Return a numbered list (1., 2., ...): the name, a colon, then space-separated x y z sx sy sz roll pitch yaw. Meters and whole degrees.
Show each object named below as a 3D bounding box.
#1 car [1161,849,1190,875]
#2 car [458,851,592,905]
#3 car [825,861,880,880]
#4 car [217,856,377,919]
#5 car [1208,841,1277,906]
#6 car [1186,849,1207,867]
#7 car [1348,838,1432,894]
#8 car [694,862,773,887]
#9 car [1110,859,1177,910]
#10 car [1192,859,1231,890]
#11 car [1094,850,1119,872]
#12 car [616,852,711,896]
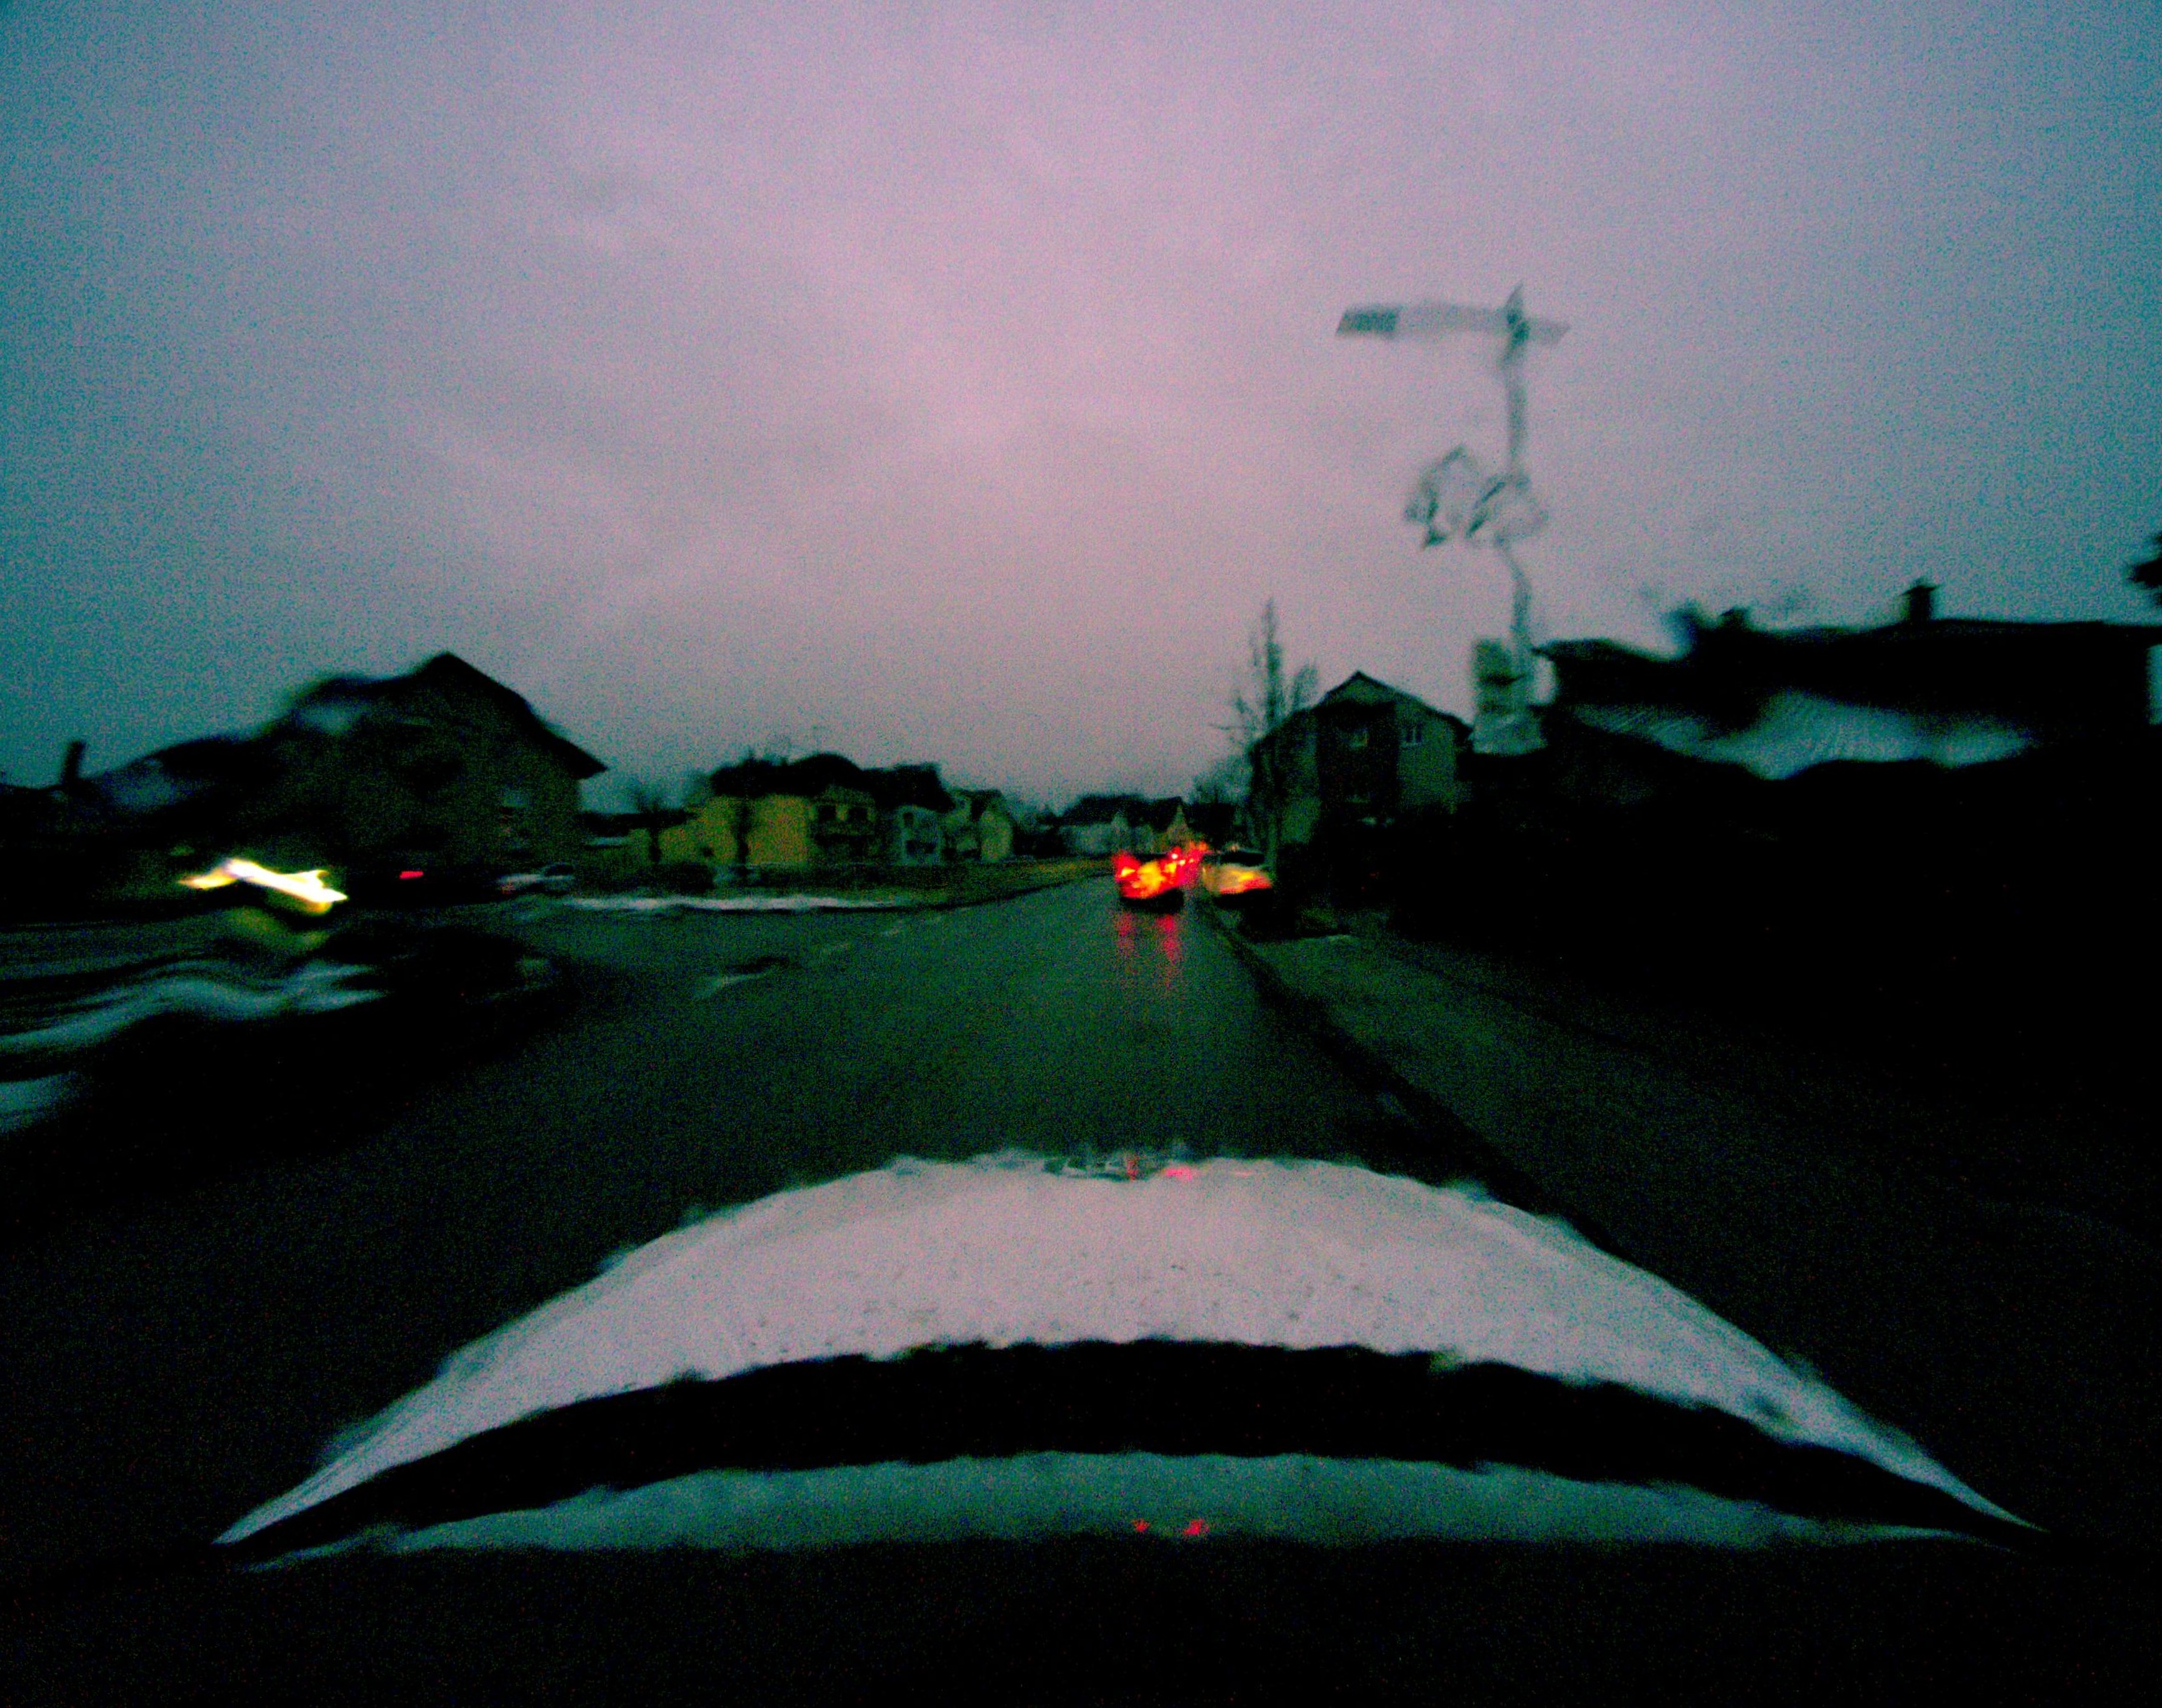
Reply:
1. car: 7.552 0.630 64.881 1.981 2.014 4.011 -1 -1 10
2. car: -22.269 0.902 32.822 1.980 2.013 4.236 0 0 12
3. car: -16.317 1.153 58.434 1.979 1.307 4.128 1 0 14
4. car: -20.137 0.790 21.140 1.393 1.438 4.306 0 0 -21
5. car: 4.997 0.542 25.680 1.735 1.785 4.345 -3 0 7
6. car: 12.919 0.479 90.877 1.980 2.014 4.014 -1 -1 13
7. car: 9.652 0.330 25.725 1.954 1.583 4.352 -2 0 14
8. car: -19.638 1.152 46.246 1.979 1.307 4.128 1 0 14
9. car: 2.076 0.928 26.234 1.983 1.525 4.006 -1 -1 6
10. car: 7.308 1.169 45.463 1.981 1.670 4.012 -1 -2 11
11. car: 2.462 0.663 77.489 1.983 2.014 4.007 0 -1 6
12. car: -20.550 0.952 40.309 1.979 2.013 4.015 1 0 14
